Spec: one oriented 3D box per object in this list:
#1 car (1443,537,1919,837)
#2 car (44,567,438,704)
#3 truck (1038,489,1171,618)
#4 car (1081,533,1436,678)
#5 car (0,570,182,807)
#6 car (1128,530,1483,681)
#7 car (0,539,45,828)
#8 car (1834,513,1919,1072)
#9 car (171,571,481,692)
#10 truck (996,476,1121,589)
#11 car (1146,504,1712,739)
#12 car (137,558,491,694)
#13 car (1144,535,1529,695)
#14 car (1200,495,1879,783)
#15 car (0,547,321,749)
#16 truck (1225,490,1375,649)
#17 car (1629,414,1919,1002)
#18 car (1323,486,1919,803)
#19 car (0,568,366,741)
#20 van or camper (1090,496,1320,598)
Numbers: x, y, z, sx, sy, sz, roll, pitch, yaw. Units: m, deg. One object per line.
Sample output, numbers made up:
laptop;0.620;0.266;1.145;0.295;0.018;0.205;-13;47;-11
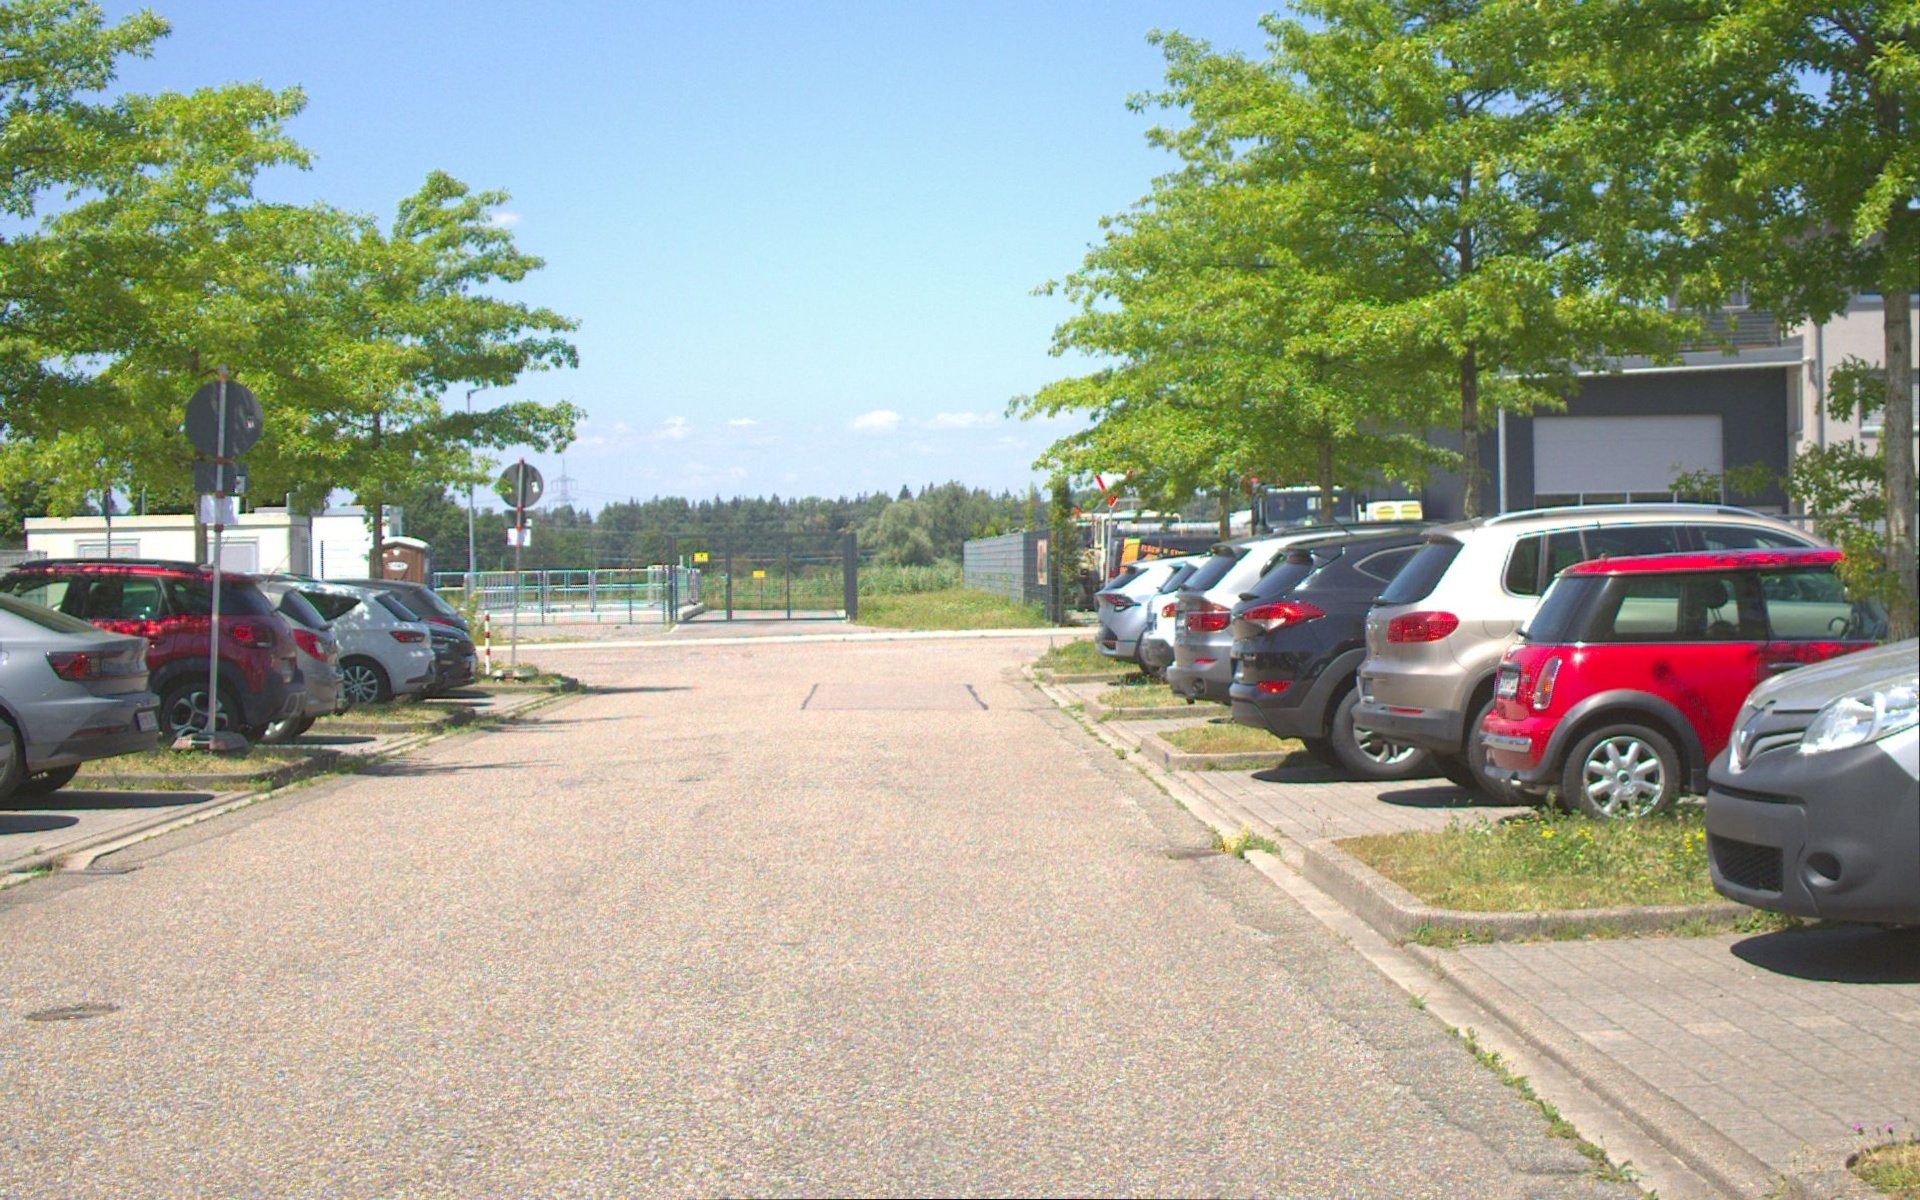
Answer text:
car;4.452;0.405;18.221;3.457;1.412;1.755;-2;1;-1
car;-7.955;0.385;38.349;4.075;1.419;1.874;1;0;-5
truck;3.535;-1.162;85.664;2.726;3.051;6.936;-1;1;-2
car;3.750;0.059;43.736;4.279;1.638;1.851;-2;0;-1
car;-7.425;0.523;22.650;4.193;1.475;1.713;1;0;-1
car;4.110;0.058;41.303;3.986;1.638;1.838;-2;0;-2
car;-7.590;0.436;20.265;3.986;1.673;1.777;1;0;-6
car;4.358;0.443;9.039;3.631;1.498;1.676;-2;0;0
car;-7.918;0.384;43.141;3.625;1.431;1.726;1;0;-4
truck;2.638;-1.832;94.098;2.921;2.928;6.936;-1;1;-2
car;3.949;0.162;29.456;4.448;1.762;1.993;-2;1;-3
car;-7.631;0.300;40.877;3.927;1.515;1.785;1;0;-4
car;4.190;0.170;38.739;4.068;1.602;1.901;-2;0;0
car;3.822;0.240;23.143;4.173;1.690;1.782;-2;1;-2
car;-7.433;0.375;28.978;3.737;1.616;1.816;1;1;0
truck;8.741;-0.807;89.194;2.921;3.916;6.936;-1;1;-2
car;4.687;0.249;11.692;4.403;1.823;1.796;-2;0;0
car;4.232;0.229;20.441;3.875;1.672;1.782;-2;1;-1
car;-7.395;0.478;31.595;3.656;1.503;1.731;1;1;-5
van or camper;5.459;-1.207;77.099;4.936;2.156;2.000;-1;2;-2
